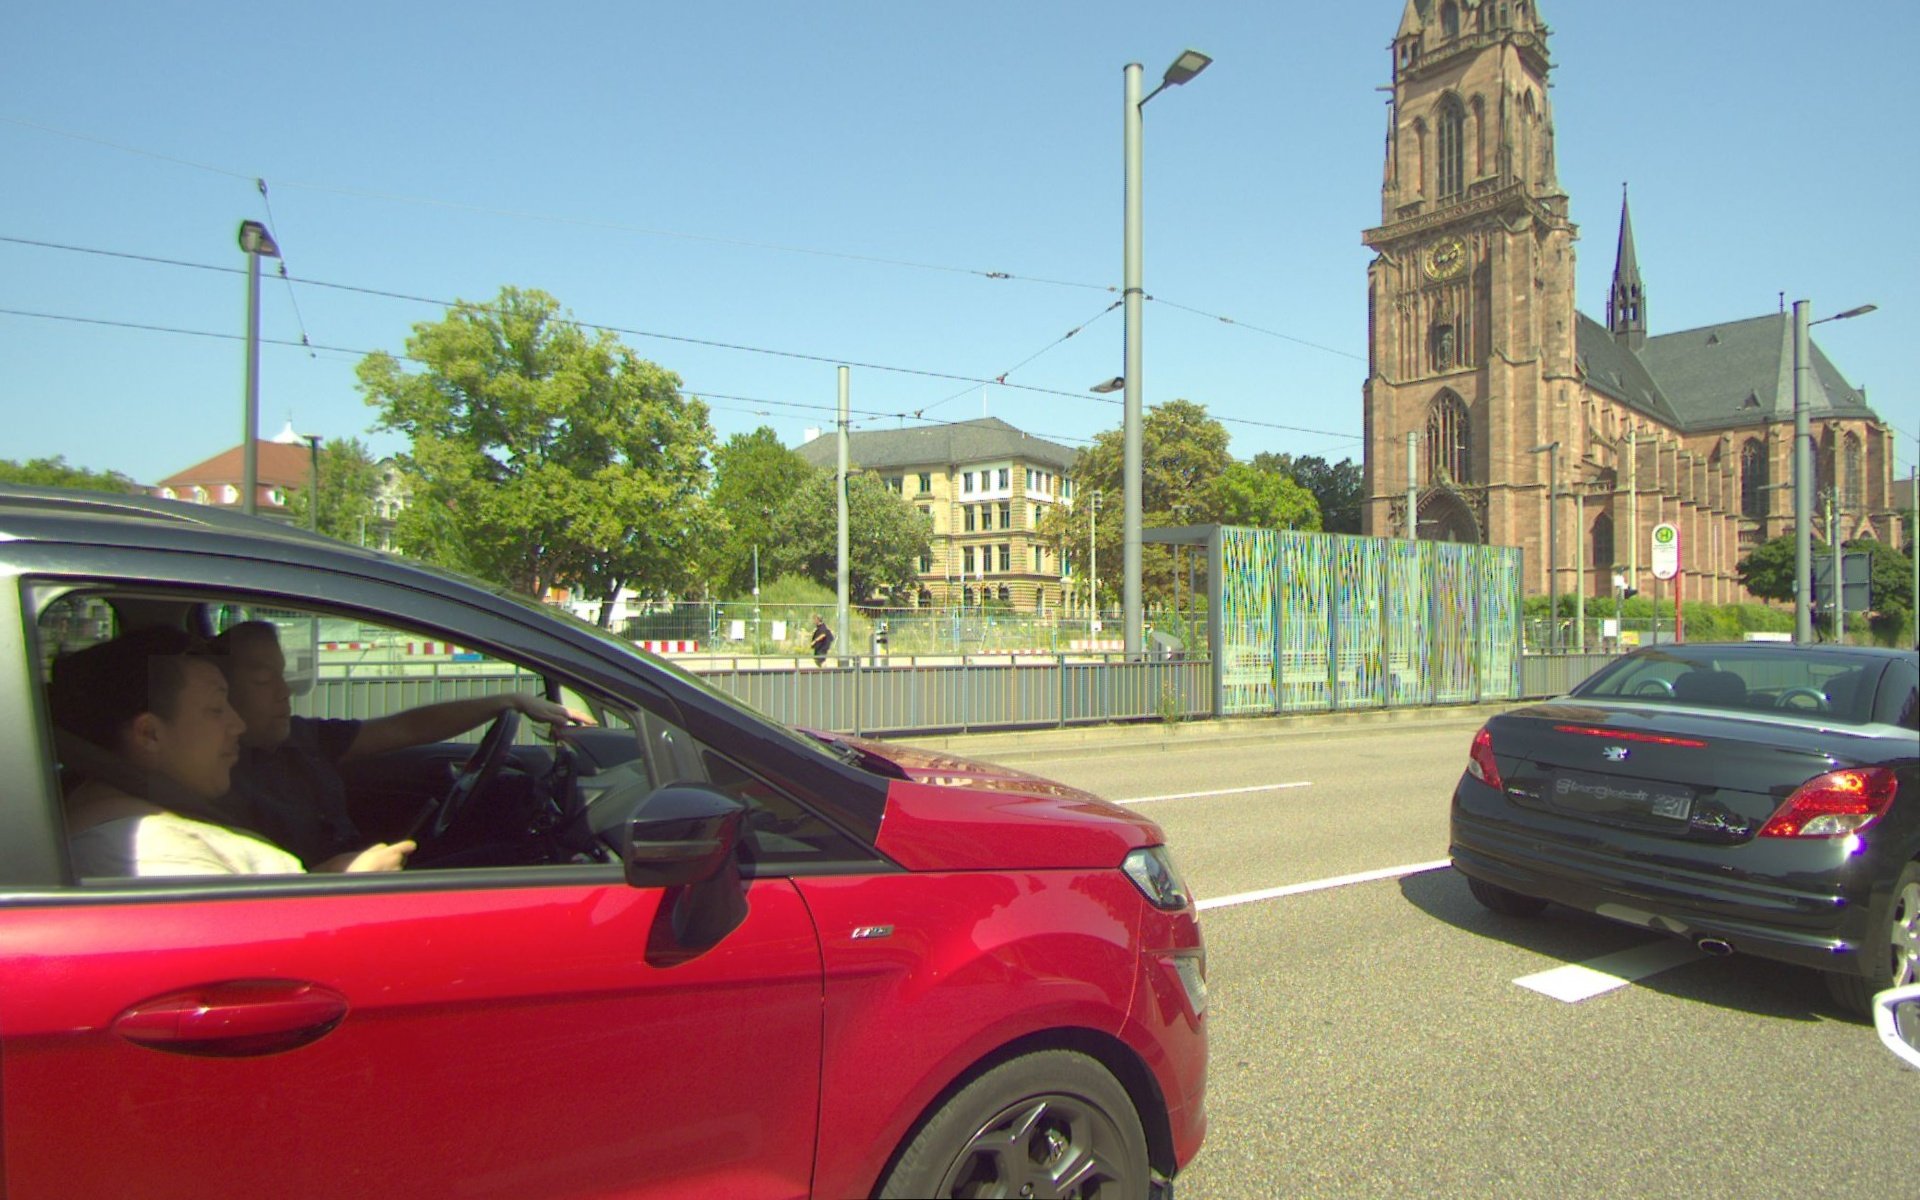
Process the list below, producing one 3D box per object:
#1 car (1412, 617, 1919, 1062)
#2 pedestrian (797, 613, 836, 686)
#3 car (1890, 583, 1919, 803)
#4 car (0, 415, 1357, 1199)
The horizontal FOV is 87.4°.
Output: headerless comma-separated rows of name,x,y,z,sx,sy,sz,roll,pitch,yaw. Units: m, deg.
car,4.177,0.830,4.983,3.757,1.432,1.680,1,0,-31
pedestrian,-3.664,1.250,25.645,0.752,1.811,0.740,1,-1,-29
car,10.176,0.810,8.846,4.188,1.844,1.740,1,-1,-30
car,-1.222,0.618,1.988,3.919,1.642,1.623,1,0,-29
